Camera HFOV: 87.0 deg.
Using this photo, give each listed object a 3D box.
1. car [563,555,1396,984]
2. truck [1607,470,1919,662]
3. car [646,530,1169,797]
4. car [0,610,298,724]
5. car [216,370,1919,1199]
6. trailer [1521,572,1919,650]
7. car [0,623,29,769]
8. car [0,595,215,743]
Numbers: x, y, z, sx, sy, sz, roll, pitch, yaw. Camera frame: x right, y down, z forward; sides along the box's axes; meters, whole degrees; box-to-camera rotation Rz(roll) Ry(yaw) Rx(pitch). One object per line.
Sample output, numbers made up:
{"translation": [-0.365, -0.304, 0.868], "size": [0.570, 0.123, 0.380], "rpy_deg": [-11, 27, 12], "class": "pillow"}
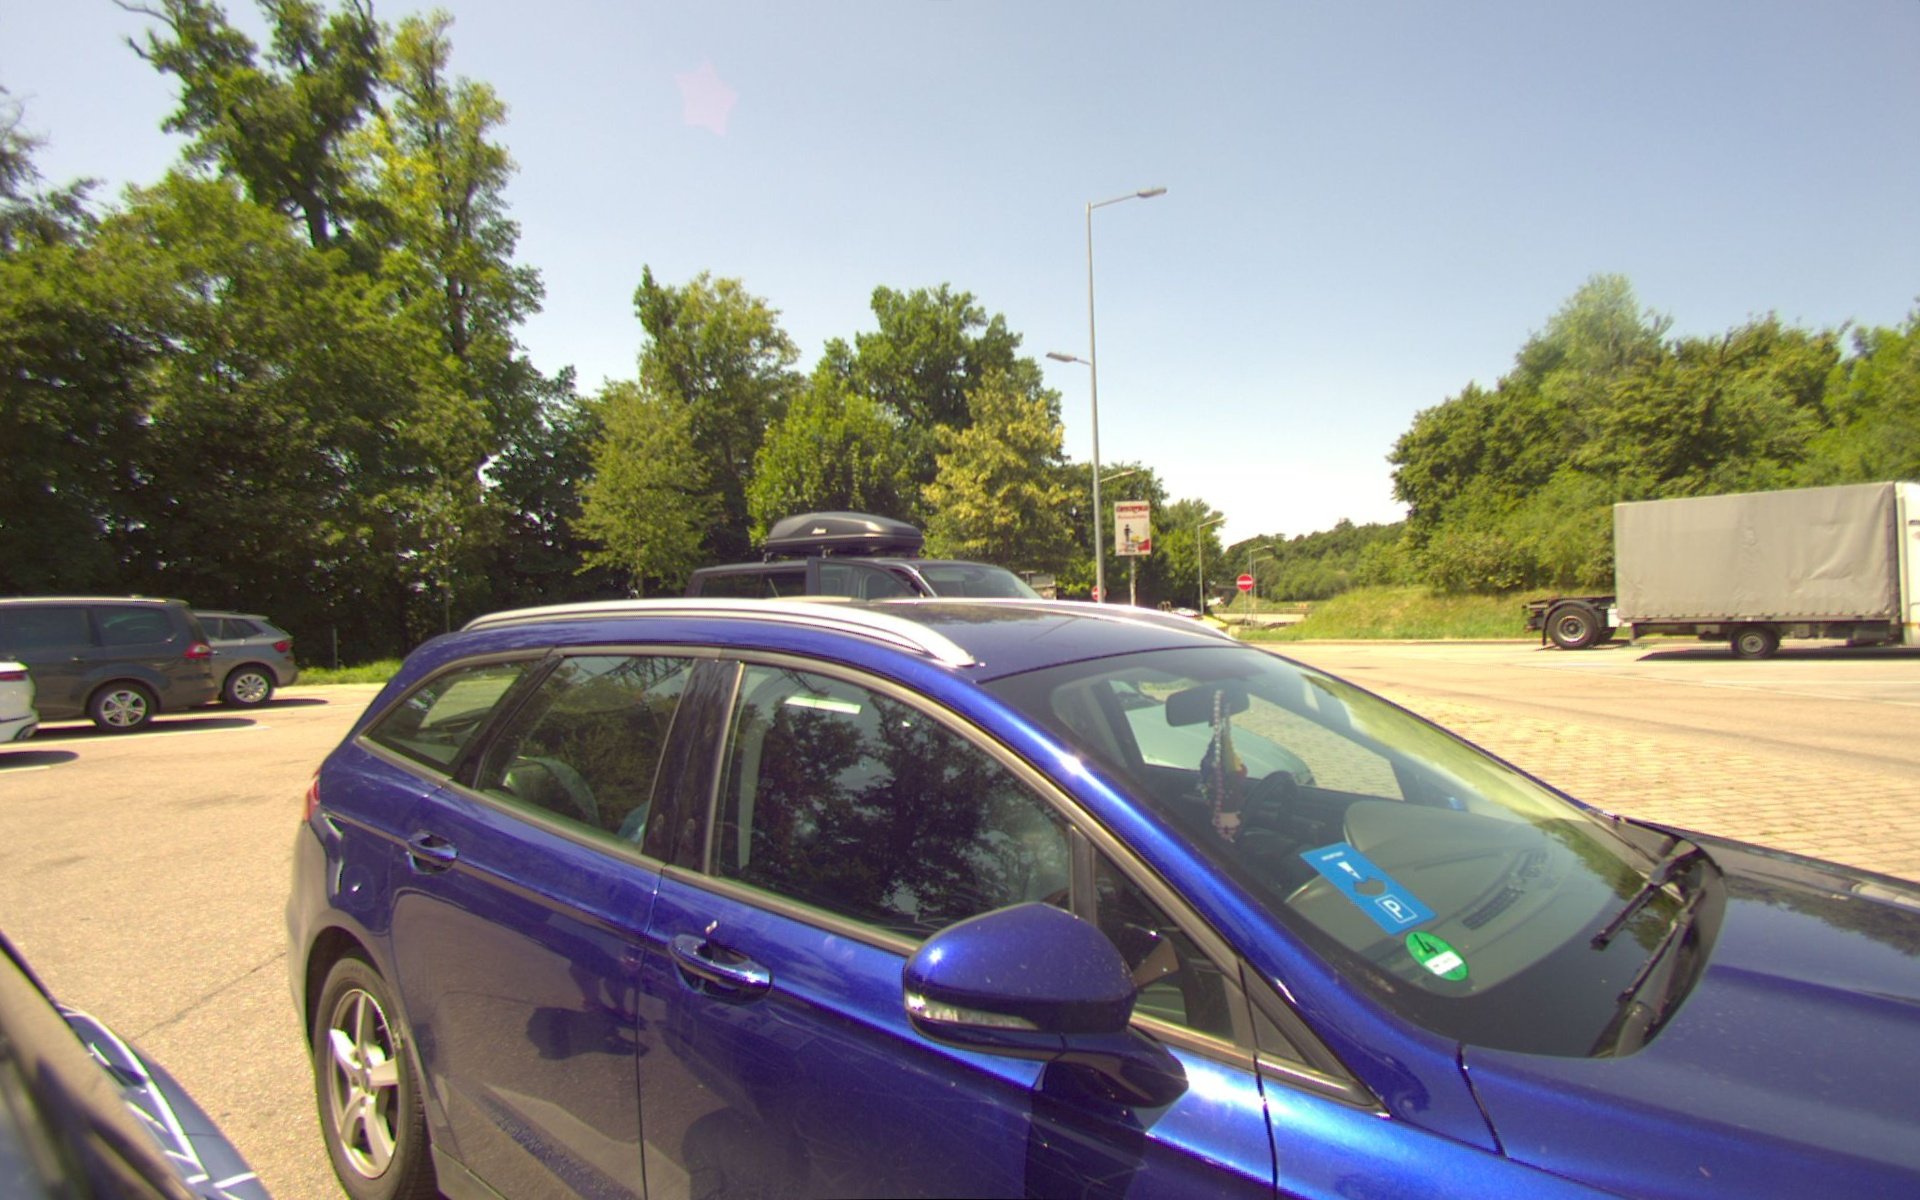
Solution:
{"translation": [-0.209, 0.669, 5.778], "size": [4.637, 1.545, 1.720], "rpy_deg": [-2, 0, 39], "class": "car"}
{"translation": [16.713, -0.611, 18.925], "size": [7.337, 3.235, 2.502], "rpy_deg": [-4, -1, 41], "class": "truck"}
{"translation": [-0.653, 0.507, 9.351], "size": [4.635, 1.884, 1.937], "rpy_deg": [-2, 0, 37], "class": "car"}
{"translation": [-12.587, 0.953, 15.696], "size": [3.762, 1.551, 1.724], "rpy_deg": [0, -1, -38], "class": "car"}
{"translation": [0.253, 0.633, 2.066], "size": [4.637, 1.493, 1.720], "rpy_deg": [-2, -1, 39], "class": "car"}
{"translation": [17.642, 0.301, 23.147], "size": [8.088, 1.385, 2.200], "rpy_deg": [-4, -1, 41], "class": "trailer"}
{"translation": [-10.990, 0.931, 9.151], "size": [3.767, 1.396, 1.722], "rpy_deg": [0, -1, -43], "class": "car"}
{"translation": [-11.649, 0.821, 12.615], "size": [3.762, 1.737, 1.724], "rpy_deg": [0, -1, -38], "class": "car"}
